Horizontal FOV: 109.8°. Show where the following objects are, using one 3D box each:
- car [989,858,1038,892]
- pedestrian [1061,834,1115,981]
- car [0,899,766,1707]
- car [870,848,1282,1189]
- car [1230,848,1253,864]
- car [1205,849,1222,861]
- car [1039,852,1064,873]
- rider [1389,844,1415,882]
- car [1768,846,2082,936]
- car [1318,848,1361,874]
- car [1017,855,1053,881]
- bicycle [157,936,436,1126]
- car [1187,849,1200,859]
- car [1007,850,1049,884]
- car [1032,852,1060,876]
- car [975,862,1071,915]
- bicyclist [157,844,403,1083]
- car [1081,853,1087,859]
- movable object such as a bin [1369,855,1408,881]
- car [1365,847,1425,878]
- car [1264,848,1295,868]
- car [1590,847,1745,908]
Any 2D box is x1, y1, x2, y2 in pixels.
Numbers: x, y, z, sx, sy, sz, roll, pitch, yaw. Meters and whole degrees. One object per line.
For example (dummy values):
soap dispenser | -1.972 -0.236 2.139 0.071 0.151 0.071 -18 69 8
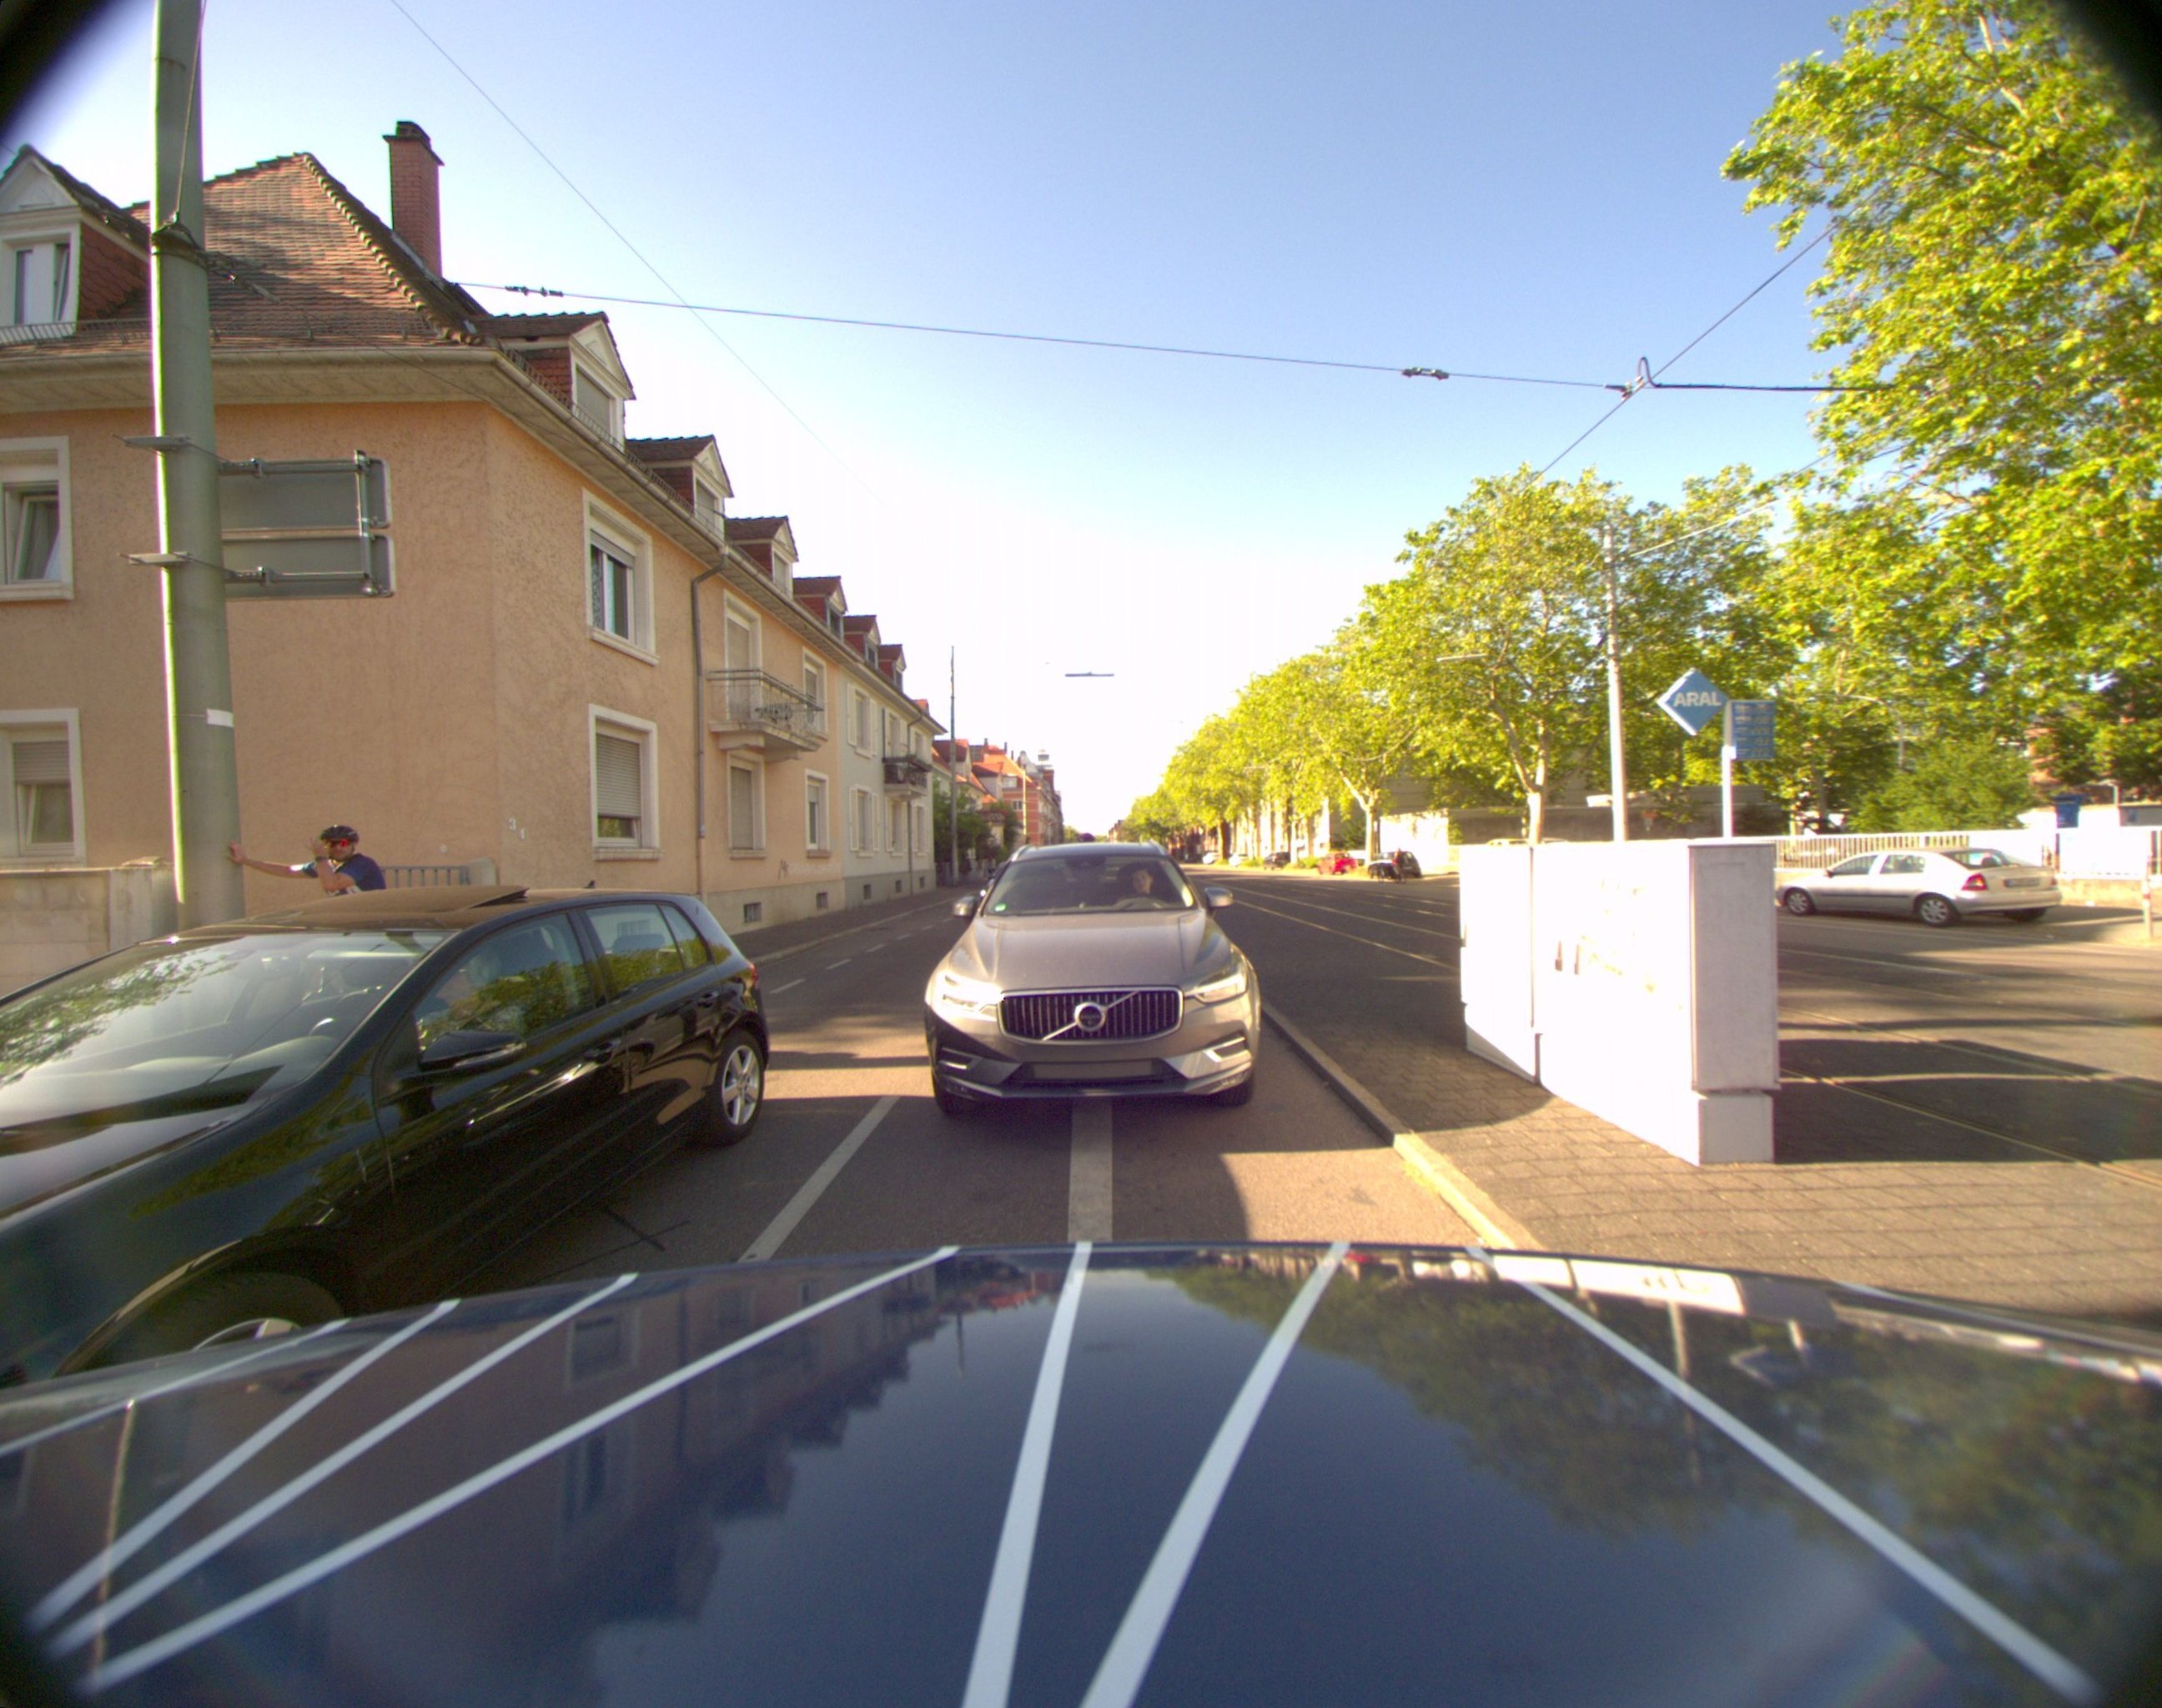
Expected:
car | -3.227 0.958 37.144 1.825 1.422 4.334 -2 1 1
pedestrian | 0.097 0.672 9.866 0.609 1.832 0.599 -2 1 1
car | -2.834 1.043 2.637 1.717 1.430 3.990 -2 1 1
car | 0.127 0.795 5.838 1.924 1.579 4.387 -2 1 4
car | 17.627 0.237 83.470 1.754 1.532 3.878 -4 1 3
car | 17.582 0.091 100.685 1.661 1.452 3.730 -4 1 3
car | -2.589 0.688 67.284 1.825 1.701 4.334 -2 1 1
rider | 14.438 0.383 34.157 0.725 1.639 1.106 -2 1 4
car | 16.201 0.626 14.956 1.687 1.358 3.989 -6 0 1
car | 16.948 0.452 49.949 1.661 1.486 3.377 -4 1 3
car | -2.804 0.827 47.116 1.825 1.424 4.334 -2 1 1
bicycle | -5.849 1.258 5.814 0.556 1.069 1.624 2 0 -7
car | 18.564 0.047 125.561 1.661 1.452 3.730 -4 1 3
car | -2.903 0.683 42.399 1.825 1.701 4.334 -2 1 1
car | -2.777 0.766 60.918 1.825 1.701 4.334 -2 1 1
car | -1.670 0.997 23.536 1.824 1.422 4.494 -2 -1 11
bicyclist | -6.029 0.789 5.783 1.021 1.684 0.729 2 0 -7
car | 0.843 0.613 217.262 1.851 1.640 3.999 -2 1 1
movable object such as a bin | 14.408 0.648 35.626 1.177 1.097 1.835 -2 1 4
car | 16.846 0.439 40.962 1.723 1.436 3.769 -4 1 3
car | 17.183 0.317 65.968 1.754 1.582 3.878 -4 1 3
car | 16.366 0.595 21.451 1.619 1.436 3.606 -4 1 3
